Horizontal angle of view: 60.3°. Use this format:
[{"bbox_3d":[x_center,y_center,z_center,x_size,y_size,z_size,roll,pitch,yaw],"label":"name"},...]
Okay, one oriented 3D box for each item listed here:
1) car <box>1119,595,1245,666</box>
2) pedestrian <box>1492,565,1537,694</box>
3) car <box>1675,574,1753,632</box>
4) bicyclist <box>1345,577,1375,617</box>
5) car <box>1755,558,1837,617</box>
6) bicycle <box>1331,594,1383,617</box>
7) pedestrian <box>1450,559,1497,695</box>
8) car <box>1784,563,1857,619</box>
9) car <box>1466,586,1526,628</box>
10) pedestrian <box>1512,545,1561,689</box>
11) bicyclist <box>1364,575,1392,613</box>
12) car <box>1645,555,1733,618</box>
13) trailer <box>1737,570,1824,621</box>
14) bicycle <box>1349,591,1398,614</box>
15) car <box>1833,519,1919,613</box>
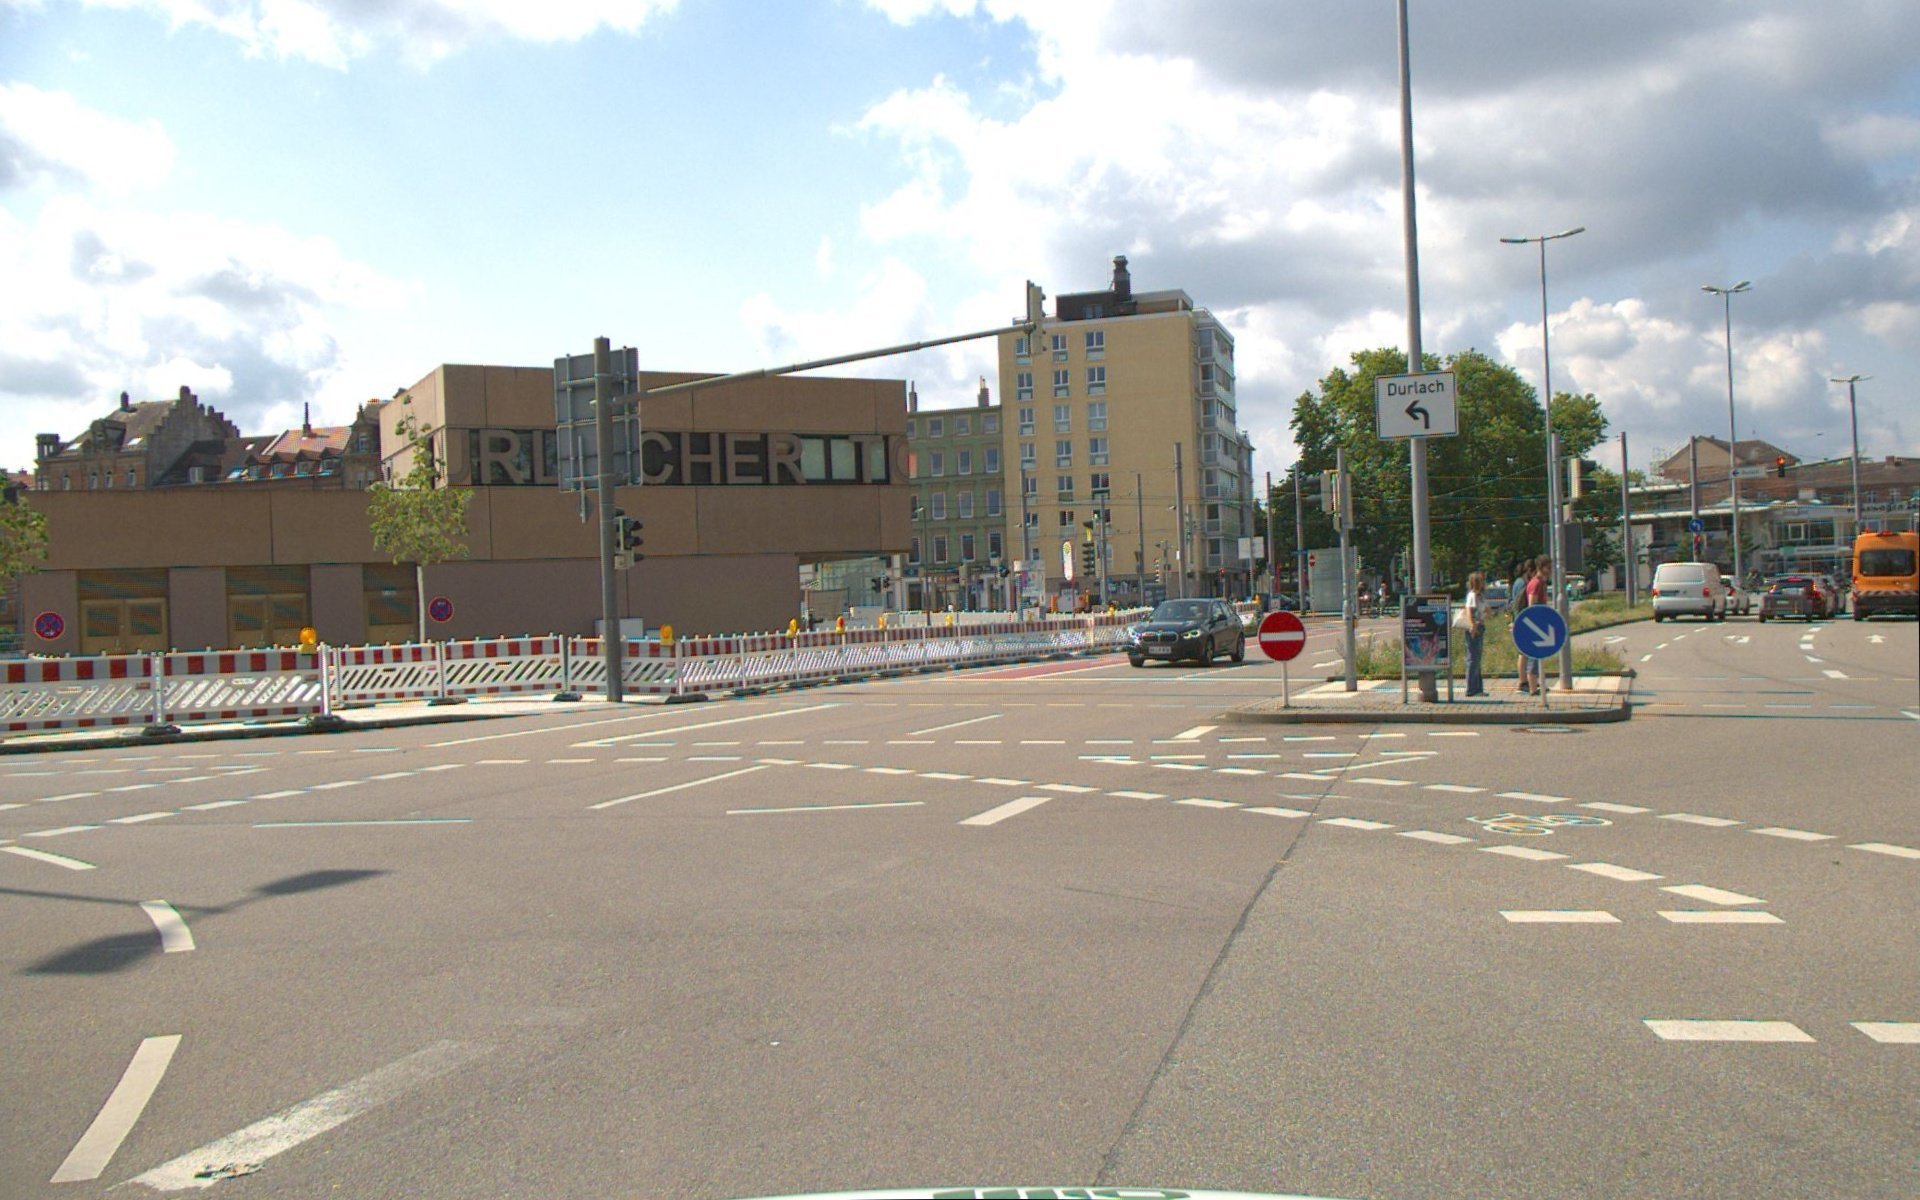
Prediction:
[{"bbox_3d":[4.967,0.640,36.592,1.755,1.412,4.227,-2,0,22],"label":"car"},{"bbox_3d":[7.569,0.396,22.587,0.514,1.713,0.624,-2,0,19],"label":"pedestrian"},{"bbox_3d":[28.307,0.081,61.999,1.956,1.972,4.626,-3,0,33],"label":"car"},{"bbox_3d":[20.020,-0.157,82.785,1.196,1.943,0.857,-2,0,30],"label":"bicyclist"},{"bbox_3d":[28.608,-0.449,56.559,1.959,1.858,3.988,-3,0,34],"label":"car"},{"bbox_3d":[19.894,0.278,82.860,2.334,1.085,0.857,-2,0,30],"label":"bicycle"},{"bbox_3d":[6.808,0.358,21.932,0.514,1.763,0.624,-2,0,19],"label":"pedestrian"},{"bbox_3d":[32.527,-0.364,62.441,1.956,1.972,4.626,-3,0,33],"label":"car"},{"bbox_3d":[20.486,0.253,63.111,1.629,1.506,4.058,1,1,26],"label":"car"},{"bbox_3d":[7.224,0.203,20.737,0.514,1.763,0.624,-2,0,19],"label":"pedestrian"},{"bbox_3d":[22.004,-0.318,87.068,1.196,1.943,0.832,-2,0,30],"label":"bicyclist"},{"bbox_3d":[25.055,-0.486,56.752,1.970,2.001,4.626,-3,0,33],"label":"car"},{"bbox_3d":[26.648,-0.162,53.686,1.959,1.503,3.988,-3,0,34],"label":"trailer"},{"bbox_3d":[21.786,0.127,87.203,2.334,1.085,0.841,-2,0,30],"label":"bicycle"},{"bbox_3d":[29.861,-1.110,53.812,2.092,2.829,4.626,-3,-1,33],"label":"car"}]
